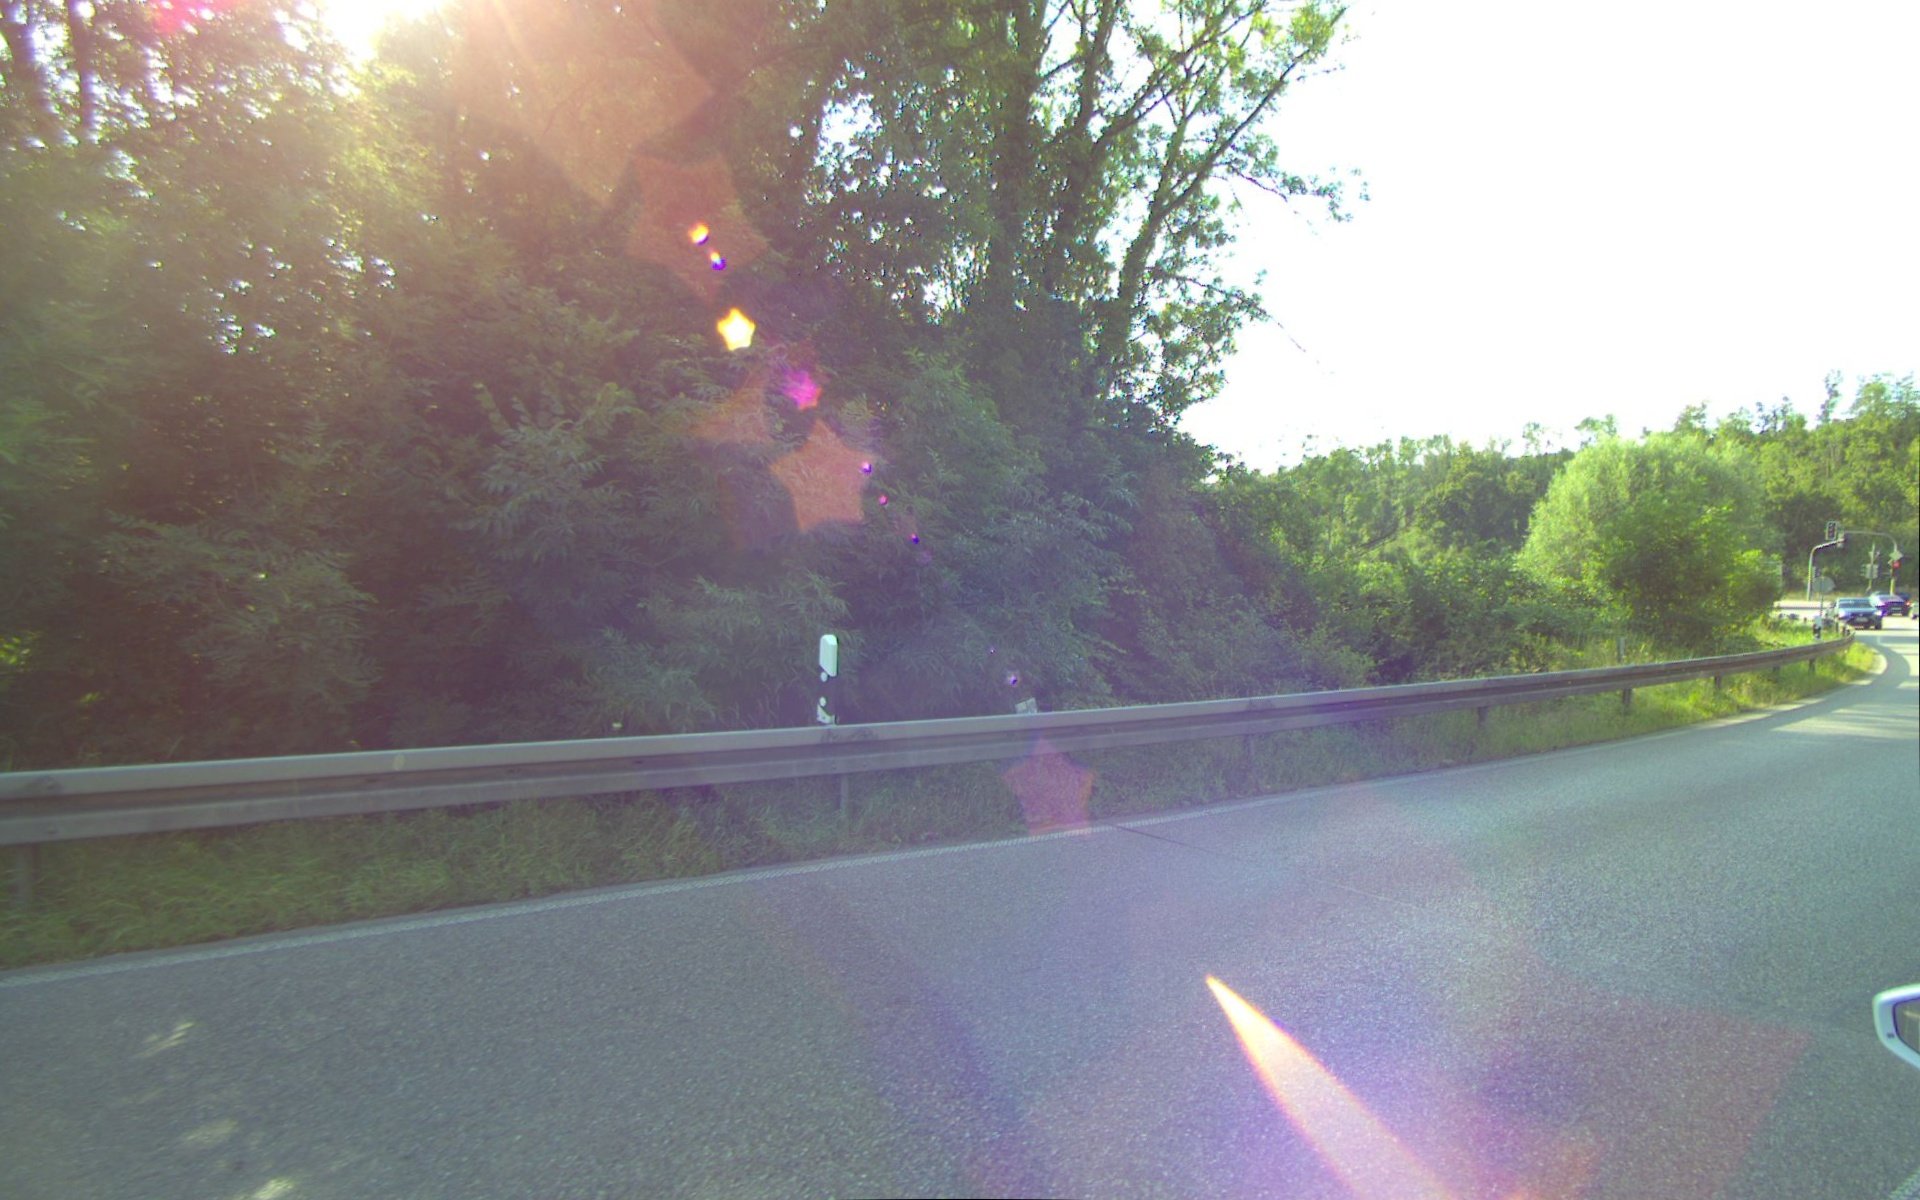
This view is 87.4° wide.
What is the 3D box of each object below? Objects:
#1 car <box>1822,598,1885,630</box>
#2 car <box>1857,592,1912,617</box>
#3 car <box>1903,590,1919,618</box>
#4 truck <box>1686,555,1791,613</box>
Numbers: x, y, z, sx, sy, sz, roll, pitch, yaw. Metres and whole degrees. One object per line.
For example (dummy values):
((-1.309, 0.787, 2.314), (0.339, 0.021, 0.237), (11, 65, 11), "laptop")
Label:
((46.076, 0.676, 51.893), (1.842, 1.586, 3.989), (0, 0, 33), "car")
((62.719, 0.288, 68.230), (1.840, 1.586, 3.991), (3, 2, 30), "car")
((58.790, 0.275, 60.654), (1.841, 1.616, 3.990), (3, 2, 31), "car")
((66.935, -1.362, 86.306), (10.112, 4.647, 3.000), (1, 3, -28), "truck")
